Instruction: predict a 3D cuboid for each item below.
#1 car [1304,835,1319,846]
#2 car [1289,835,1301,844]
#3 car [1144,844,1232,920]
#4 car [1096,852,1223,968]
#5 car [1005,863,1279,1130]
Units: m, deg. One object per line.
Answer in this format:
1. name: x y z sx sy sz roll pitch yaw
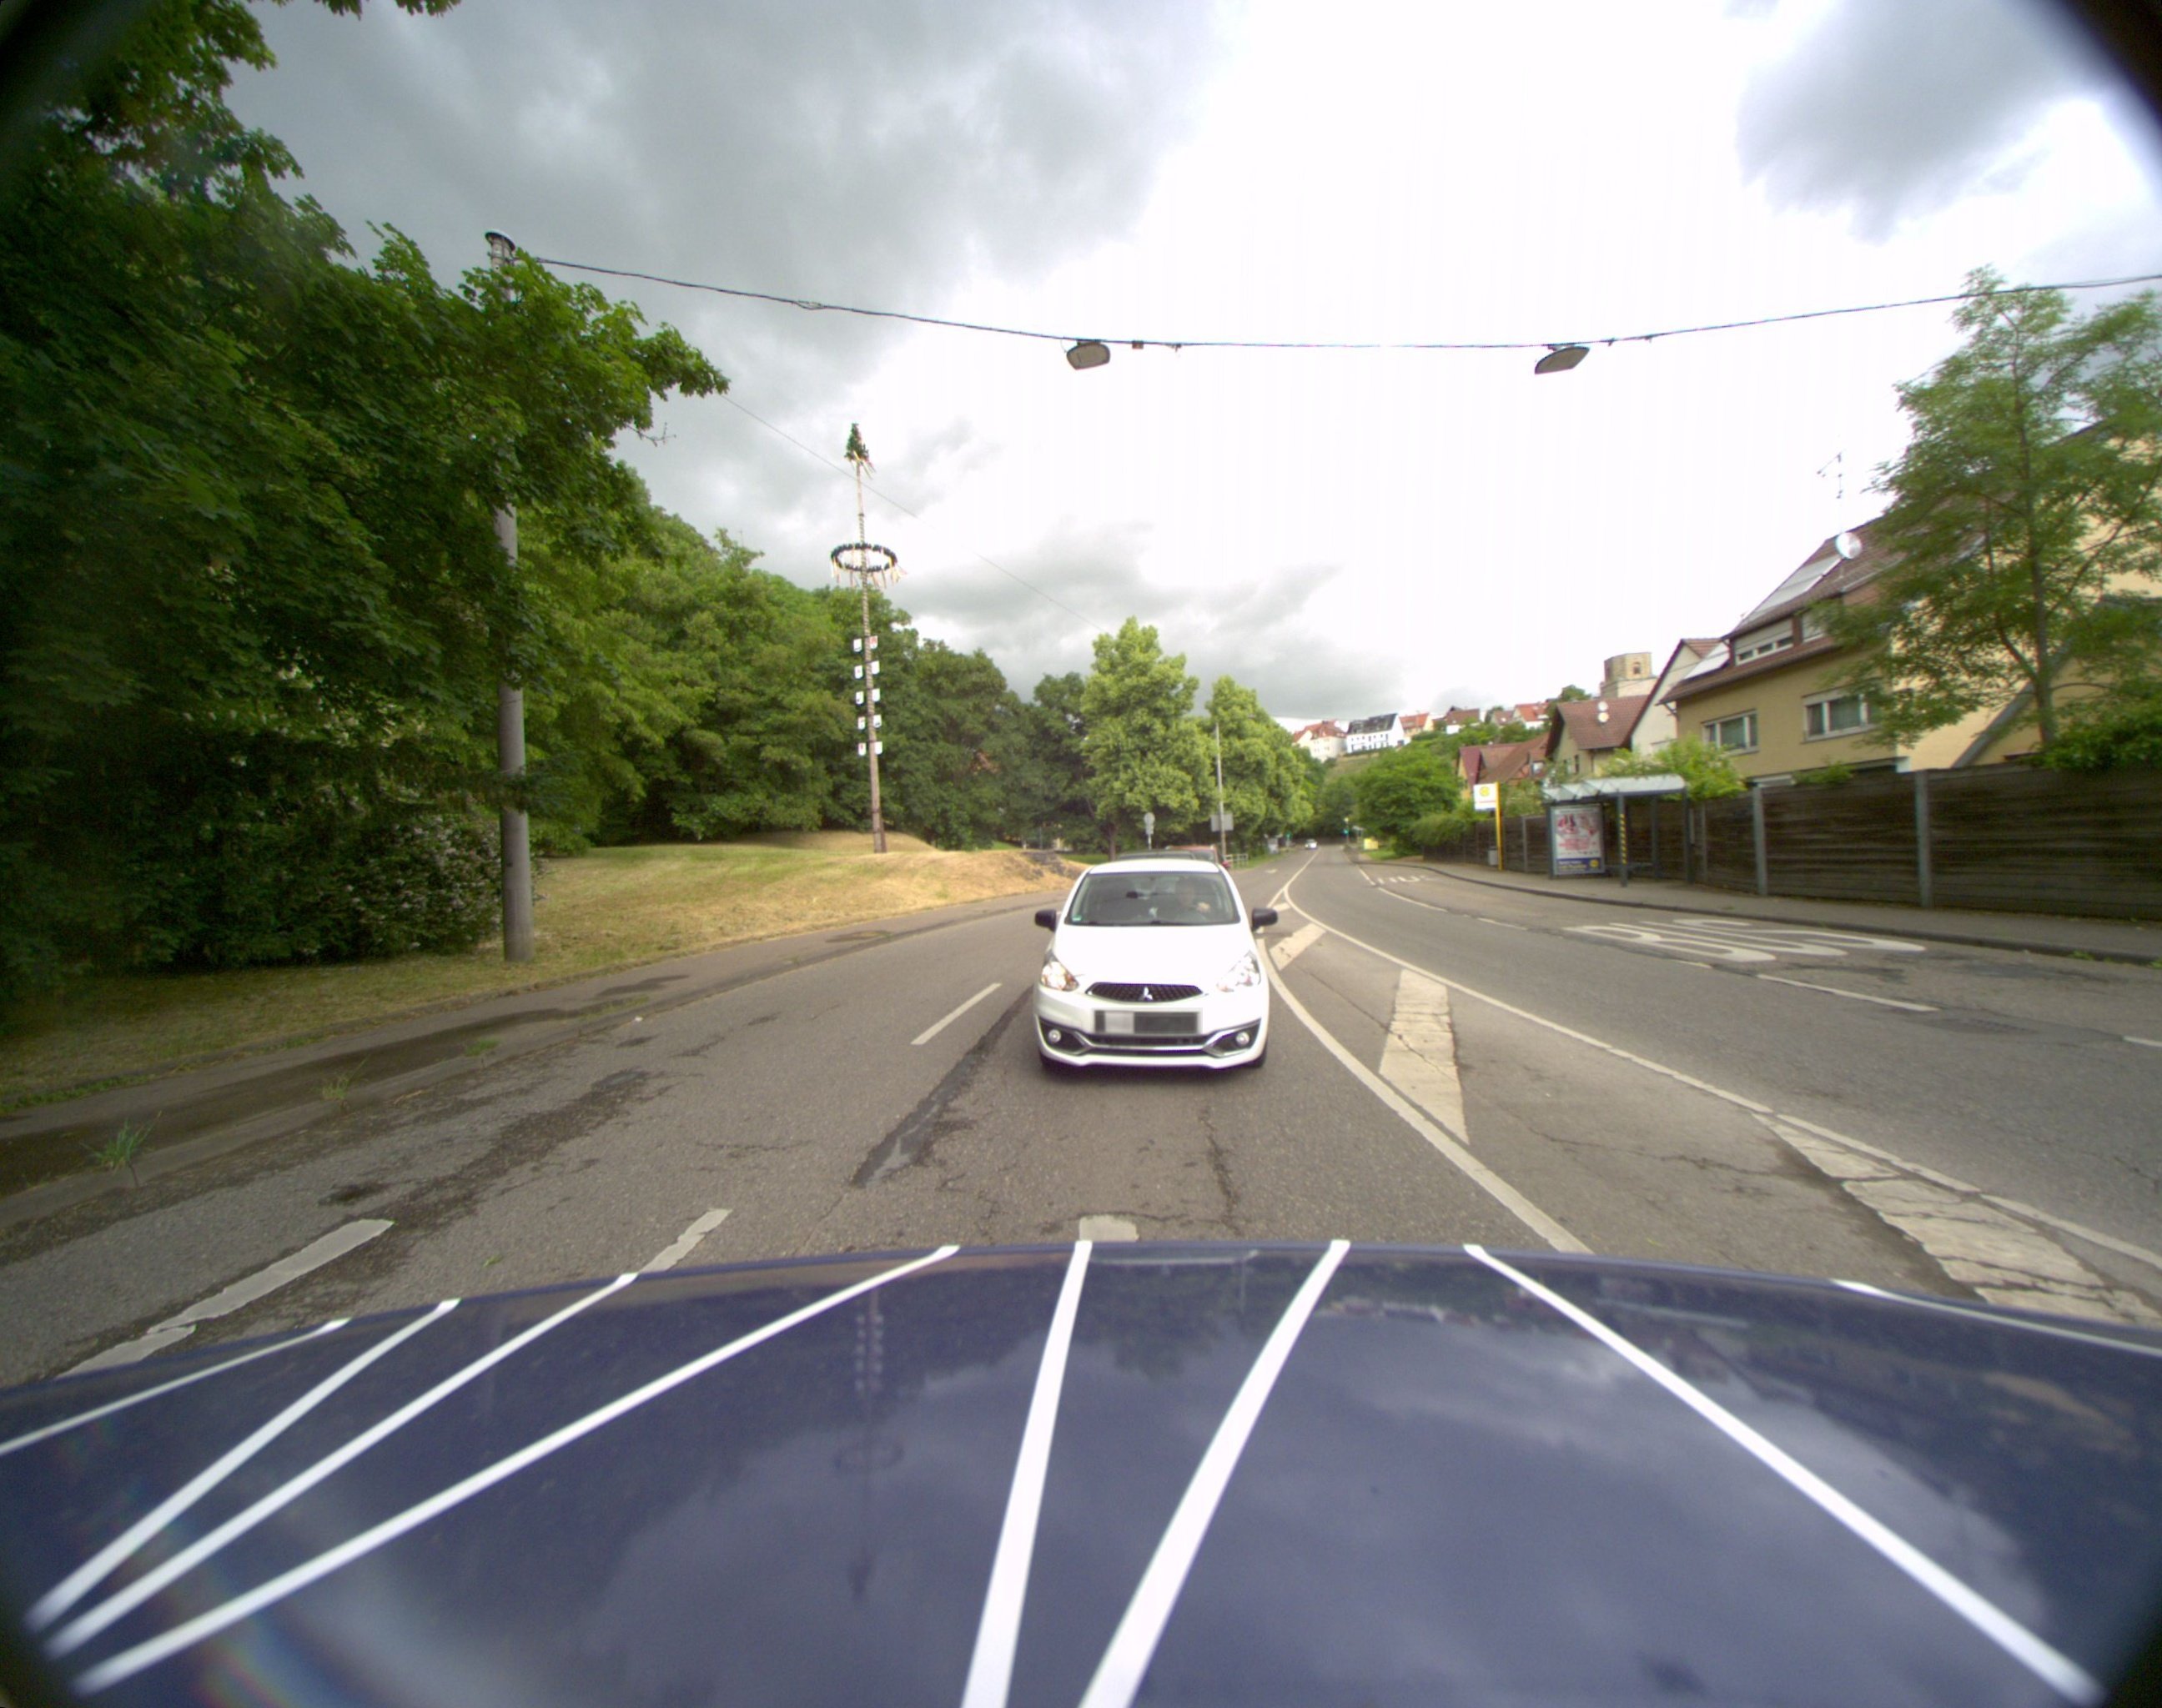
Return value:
1. car: 38.886 -2.277 128.313 1.844 1.630 4.002 -2 1 10
2. car: 46.024 -3.050 163.506 1.910 1.745 4.002 -3 0 7
3. car: 2.850 0.629 19.462 1.826 1.662 4.061 -2 1 13
4. car: 1.386 0.792 12.590 1.723 1.539 3.784 -2 1 9
5. car: 0.633 0.906 6.432 1.617 1.505 3.607 -2 1 9
